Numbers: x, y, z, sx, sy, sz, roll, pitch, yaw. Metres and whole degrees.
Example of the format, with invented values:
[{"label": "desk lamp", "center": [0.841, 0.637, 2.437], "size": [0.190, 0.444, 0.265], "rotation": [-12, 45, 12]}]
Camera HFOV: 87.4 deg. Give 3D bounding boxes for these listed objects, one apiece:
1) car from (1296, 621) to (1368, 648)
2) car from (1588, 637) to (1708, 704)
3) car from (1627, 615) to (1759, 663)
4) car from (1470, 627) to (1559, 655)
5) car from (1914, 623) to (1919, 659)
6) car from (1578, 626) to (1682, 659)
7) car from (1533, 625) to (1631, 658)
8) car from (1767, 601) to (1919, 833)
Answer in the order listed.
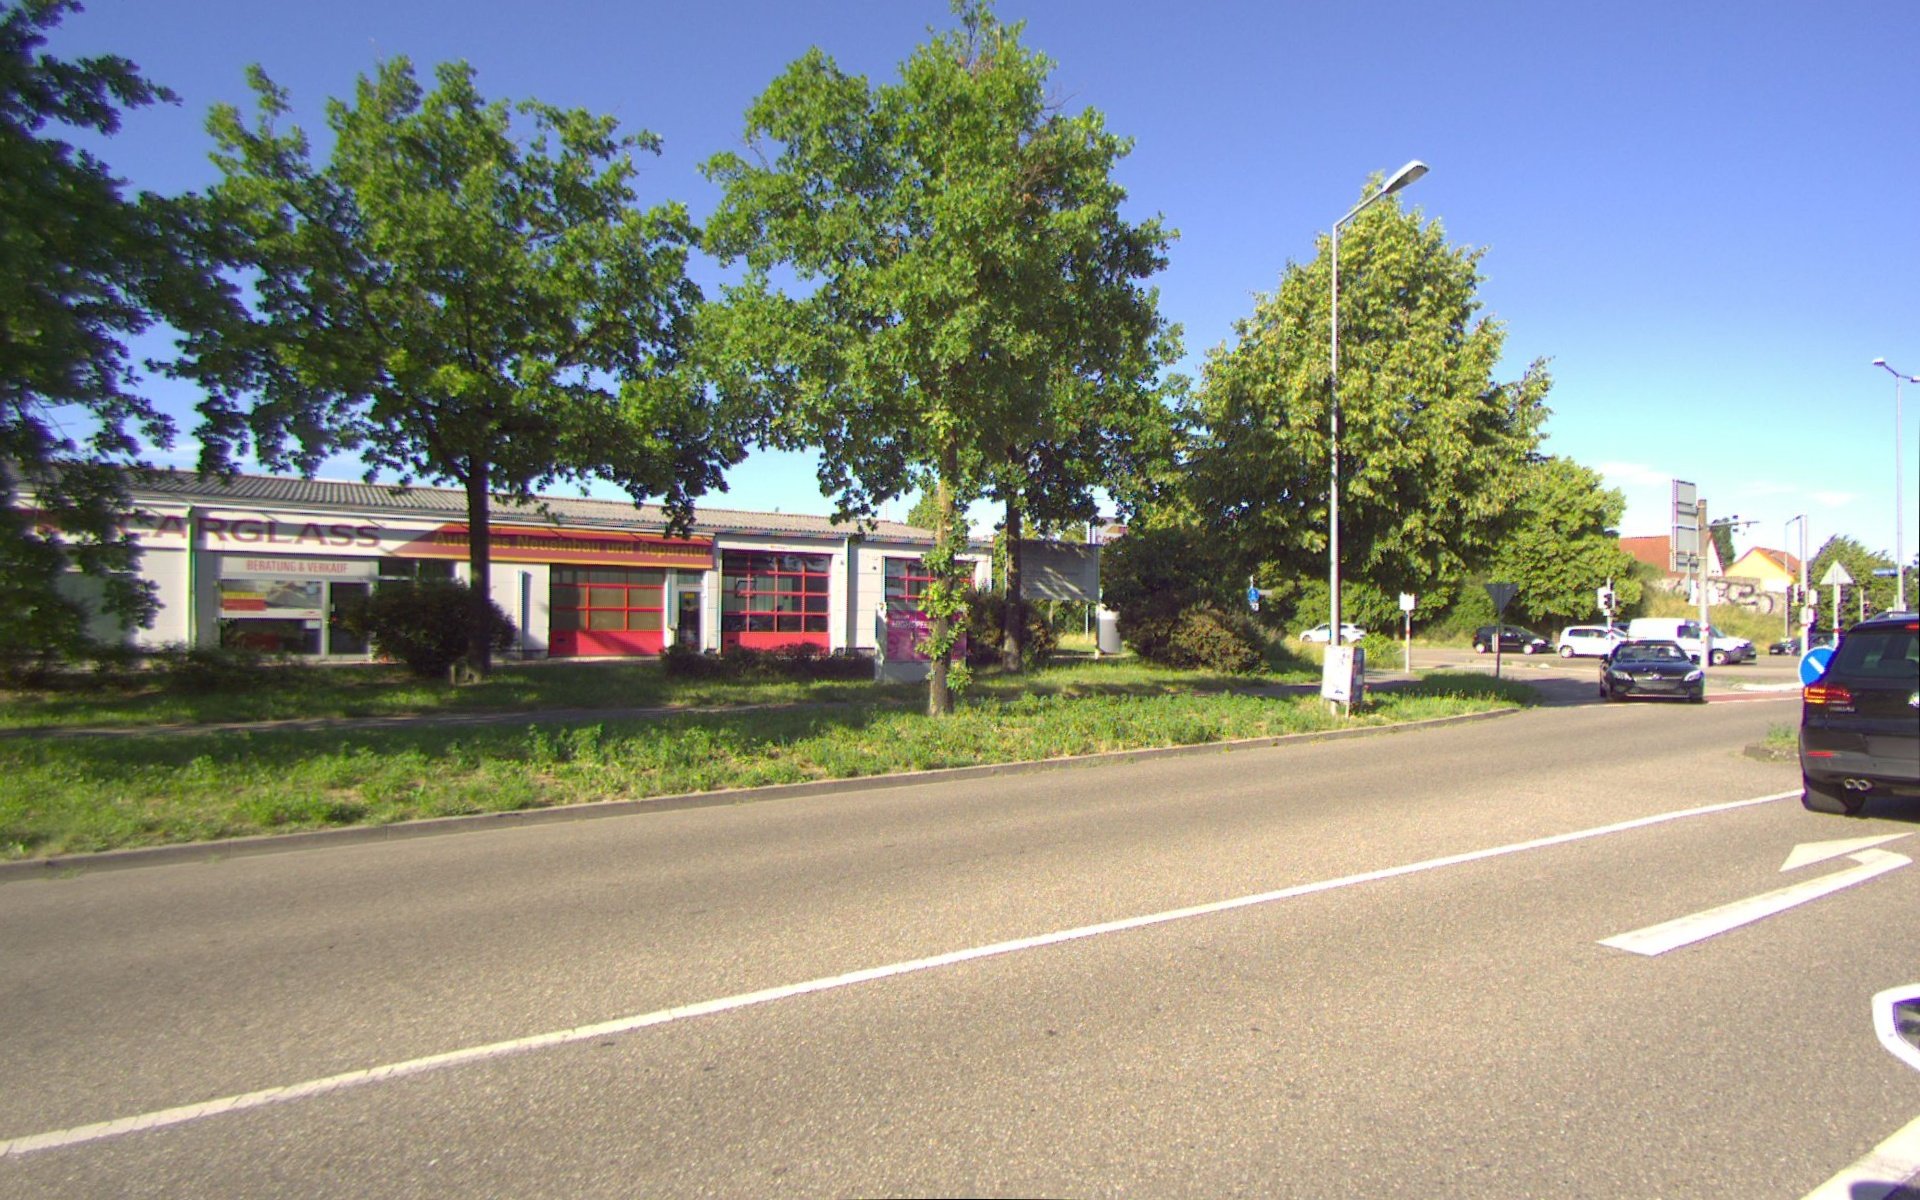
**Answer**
[{"label": "car", "center": [25.065, 2.301, 67.756], "size": [1.696, 1.705, 4.352], "rotation": [2, -1, -36]}, {"label": "car", "center": [16.212, 1.636, 23.874], "size": [1.965, 1.421, 4.579], "rotation": [-4, -4, 30]}, {"label": "car", "center": [29.582, 1.562, 40.650], "size": [1.443, 1.824, 4.087], "rotation": [2, -2, -34]}, {"label": "car", "center": [28.992, 2.126, 52.611], "size": [1.494, 1.330, 3.817], "rotation": [2, -1, -37]}, {"label": "car", "center": [43.765, 1.753, 42.455], "size": [1.979, 1.560, 4.675], "rotation": [1, -1, -33]}, {"label": "car", "center": [32.277, 2.028, 48.468], "size": [1.668, 1.403, 3.817], "rotation": [2, -1, -38]}, {"label": "car", "center": [29.228, 1.942, 47.269], "size": [1.578, 1.505, 3.646], "rotation": [2, -2, -35]}, {"label": "car", "center": [8.727, 0.921, 8.379], "size": [3.956, 1.695, 1.813], "rotation": [2, -3, -30]}]
